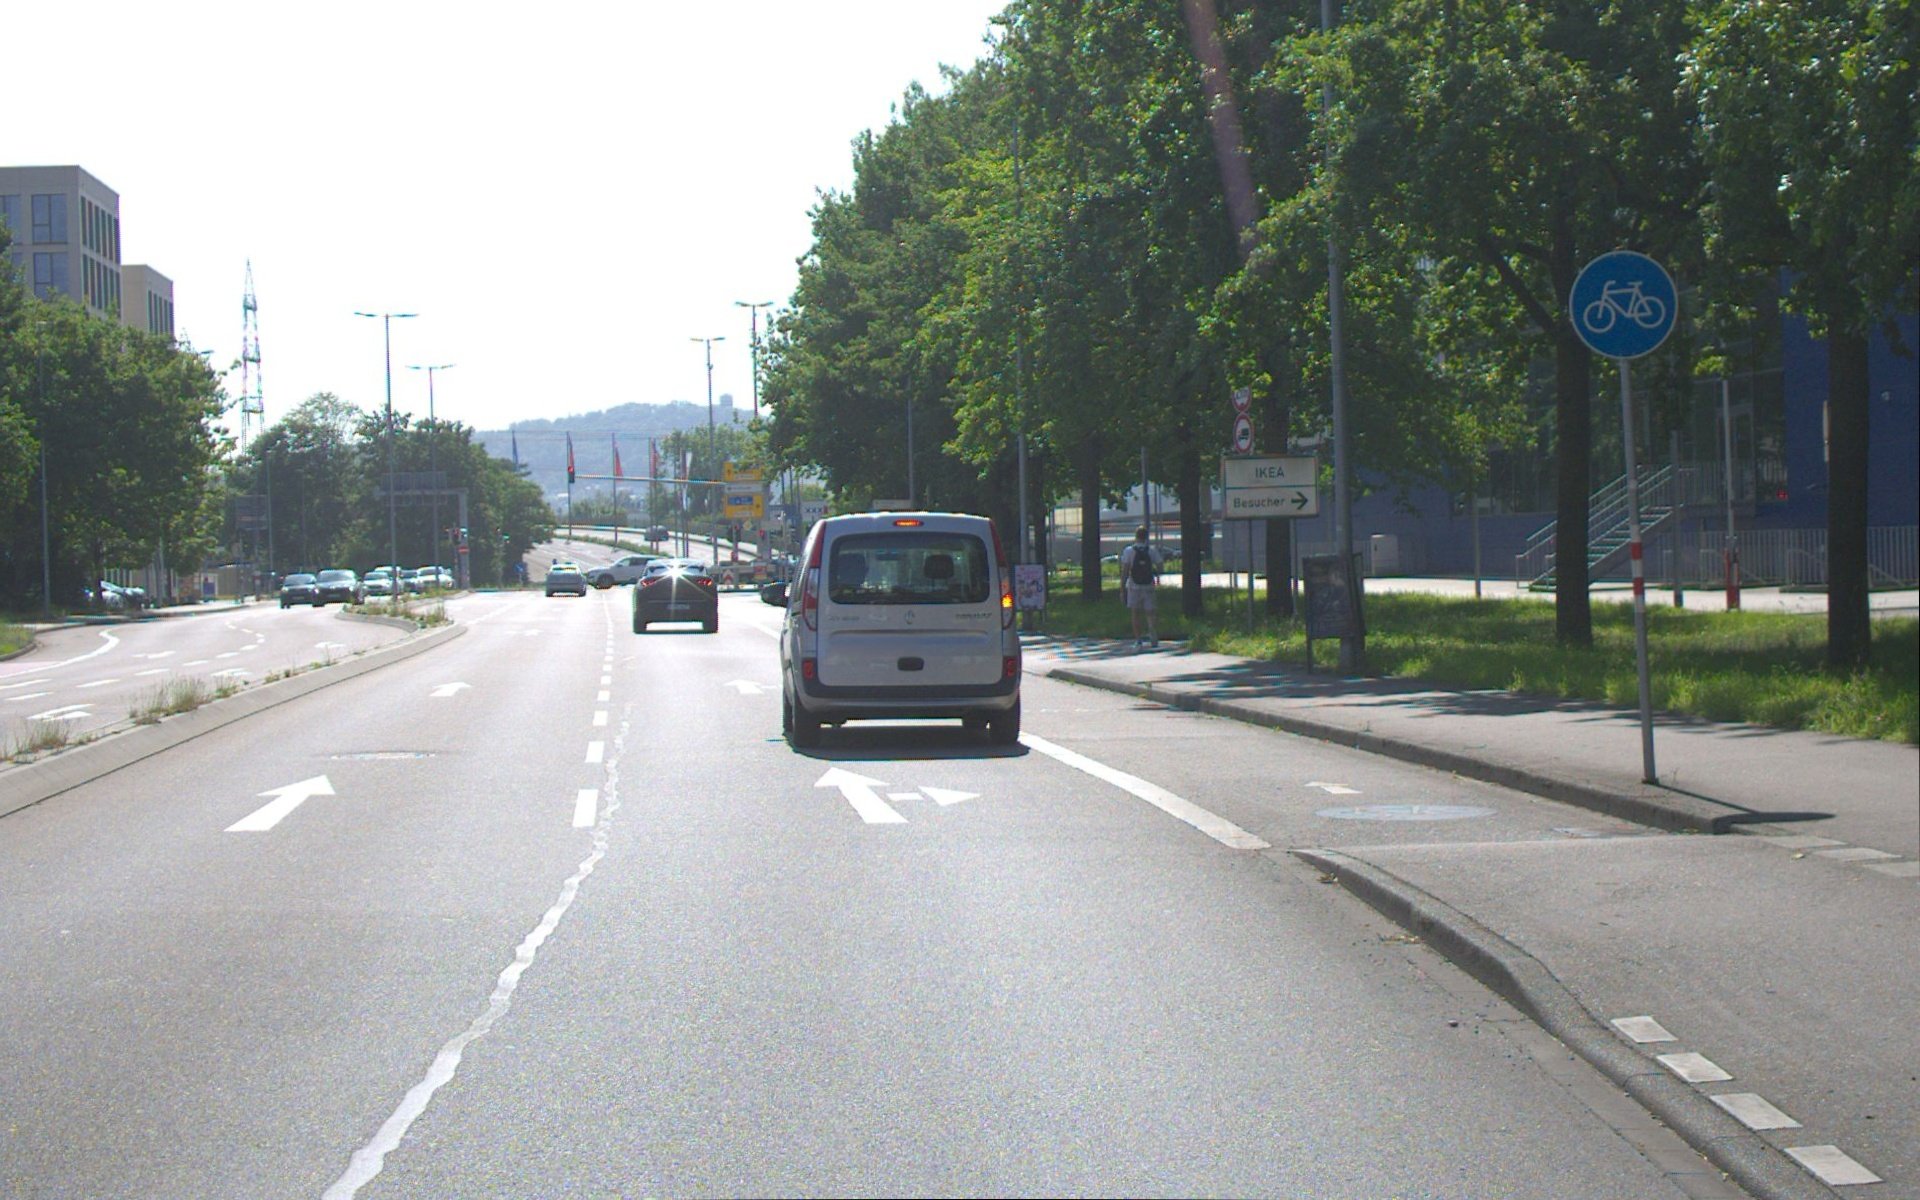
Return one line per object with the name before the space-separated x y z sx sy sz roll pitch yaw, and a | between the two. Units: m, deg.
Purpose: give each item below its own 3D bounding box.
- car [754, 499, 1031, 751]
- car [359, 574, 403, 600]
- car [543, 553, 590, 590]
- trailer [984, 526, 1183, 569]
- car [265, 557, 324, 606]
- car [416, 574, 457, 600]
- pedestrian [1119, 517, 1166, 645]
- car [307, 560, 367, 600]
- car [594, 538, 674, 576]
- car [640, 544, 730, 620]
car | -0.624 0.161 27.734 1.905 1.822 4.181 -2 1 -5
car | -33.913 -0.760 201.396 1.892 1.459 4.000 -2 1 -1
car | -18.495 -1.342 161.798 1.993 1.678 4.001 -2 1 -5
trailer | 7.452 -3.172 208.309 11.869 2.460 2.000 1 2 -3
car | -28.909 -0.827 149.458 1.993 2.006 4.001 1 2 -4
car | -30.859 -0.775 202.842 1.815 1.459 4.000 -2 1 -1
pedestrian | 2.646 -0.277 49.879 0.535 1.835 0.728 -2 1 -5
car | -25.171 -0.829 138.950 1.841 1.458 5.001 -4 1 -5
car | -17.742 -2.347 187.073 3.986 2.006 2.001 0 2 -19
car | -6.282 -0.444 78.864 1.807 1.634 4.459 -2 1 -2
